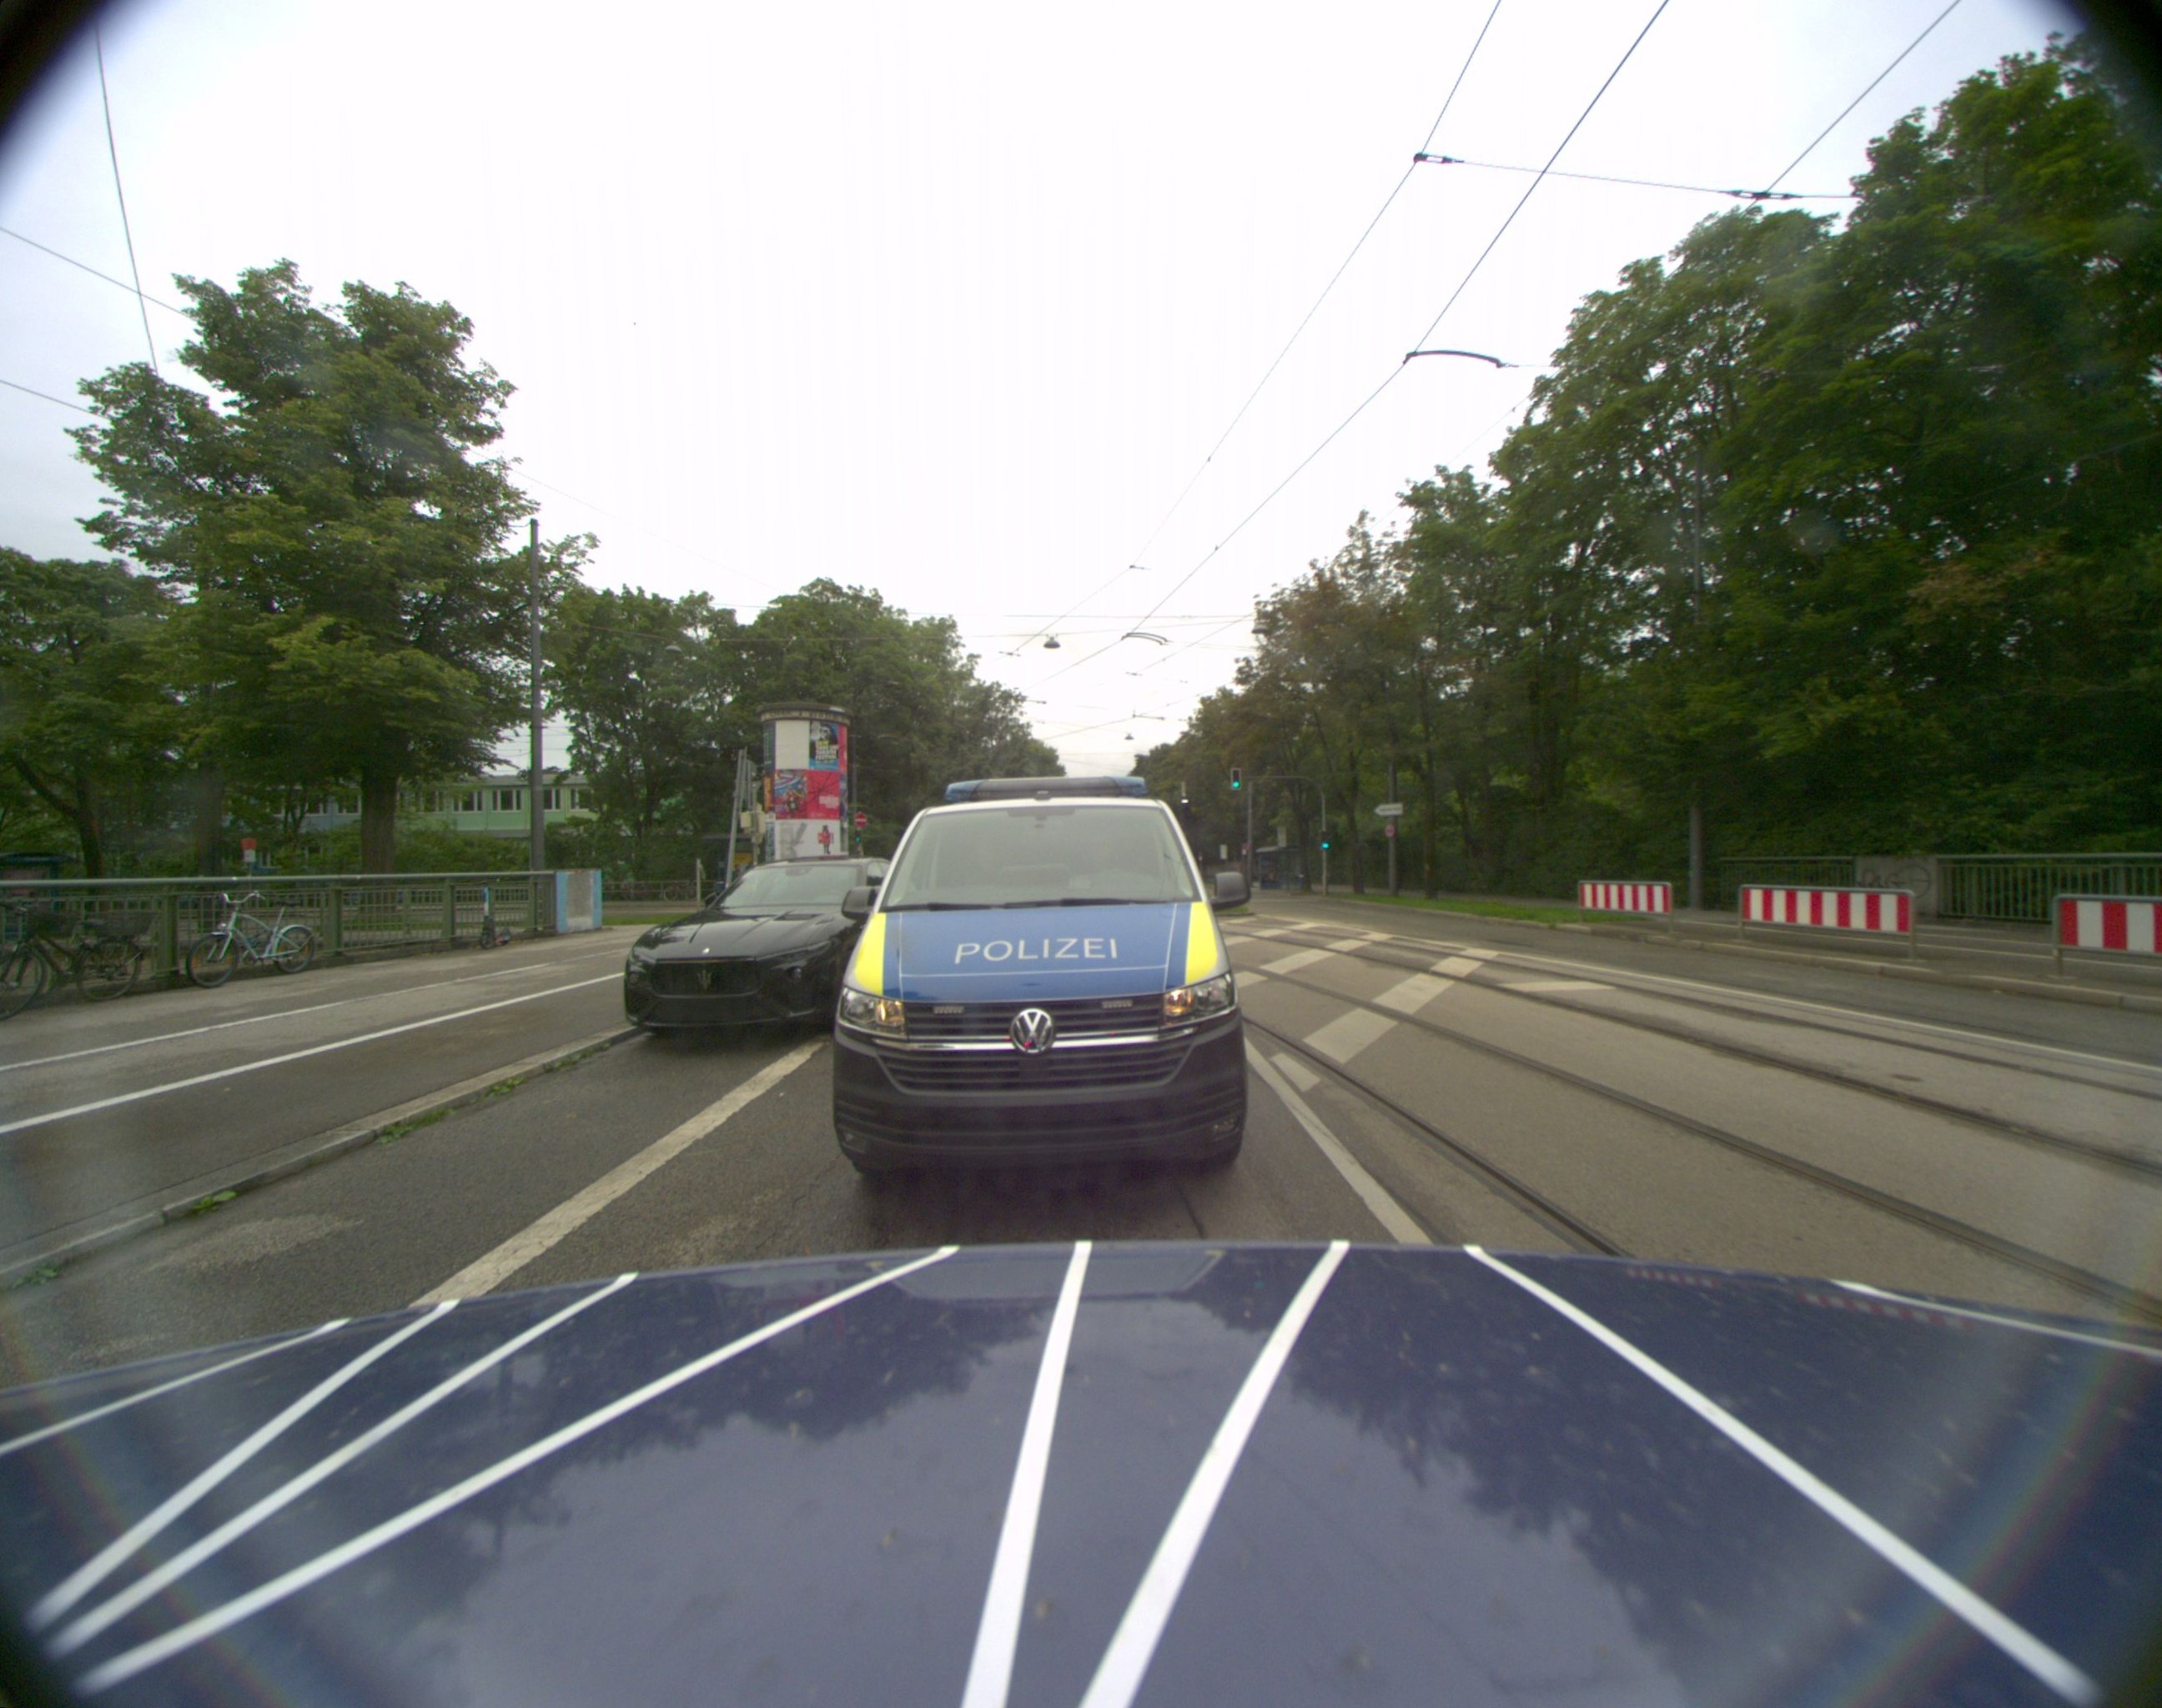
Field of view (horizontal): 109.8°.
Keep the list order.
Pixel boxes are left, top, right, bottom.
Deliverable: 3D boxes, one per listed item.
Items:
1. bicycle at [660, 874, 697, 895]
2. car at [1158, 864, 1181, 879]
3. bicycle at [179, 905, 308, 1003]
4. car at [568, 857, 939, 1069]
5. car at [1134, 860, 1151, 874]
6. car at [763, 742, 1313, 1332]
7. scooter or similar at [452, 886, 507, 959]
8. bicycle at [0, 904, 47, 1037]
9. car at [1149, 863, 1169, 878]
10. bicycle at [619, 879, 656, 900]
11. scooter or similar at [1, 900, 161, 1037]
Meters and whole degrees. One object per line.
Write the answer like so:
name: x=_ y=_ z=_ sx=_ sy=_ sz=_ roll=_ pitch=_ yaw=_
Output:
bicycle: x=-18.798 y=1.419 z=35.485 sx=1.483 sy=0.946 sz=0.373 roll=-1 pitch=1 yaw=3
car: x=9.950 y=1.986 z=85.704 sx=1.888 sy=1.531 sz=3.999 roll=-3 pitch=0 yaw=-2
bicycle: x=-10.750 y=1.241 z=9.811 sx=0.265 sy=1.076 sz=1.540 roll=-3 pitch=0 yaw=-14
car: x=-3.042 y=0.890 z=8.361 sx=1.905 sy=1.600 sz=4.665 roll=-3 pitch=-1 yaw=1
car: x=8.590 y=1.801 z=105.741 sx=1.888 sy=1.716 sz=3.999 roll=-3 pitch=0 yaw=-1
car: x=-0.187 y=0.635 z=5.517 sx=1.903 sy=2.041 sz=5.708 roll=-1 pitch=0 yaw=-1
scooter or similar: x=-10.672 y=1.191 z=13.509 sx=0.225 sy=1.205 sz=1.020 roll=-3 pitch=1 yaw=-8
bicycle: x=-10.601 y=1.145 z=7.117 sx=0.283 sy=1.274 sz=1.408 roll=-3 pitch=0 yaw=-19
car: x=9.326 y=1.957 z=91.079 sx=1.888 sy=1.716 sz=3.999 roll=-3 pitch=0 yaw=-1
bicycle: x=-20.817 y=1.678 z=35.671 sx=1.483 sy=0.946 sz=0.373 roll=-1 pitch=1 yaw=3
scooter or similar: x=-10.597 y=1.151 z=8.109 sx=0.245 sy=1.255 sz=1.493 roll=-3 pitch=0 yaw=-22
